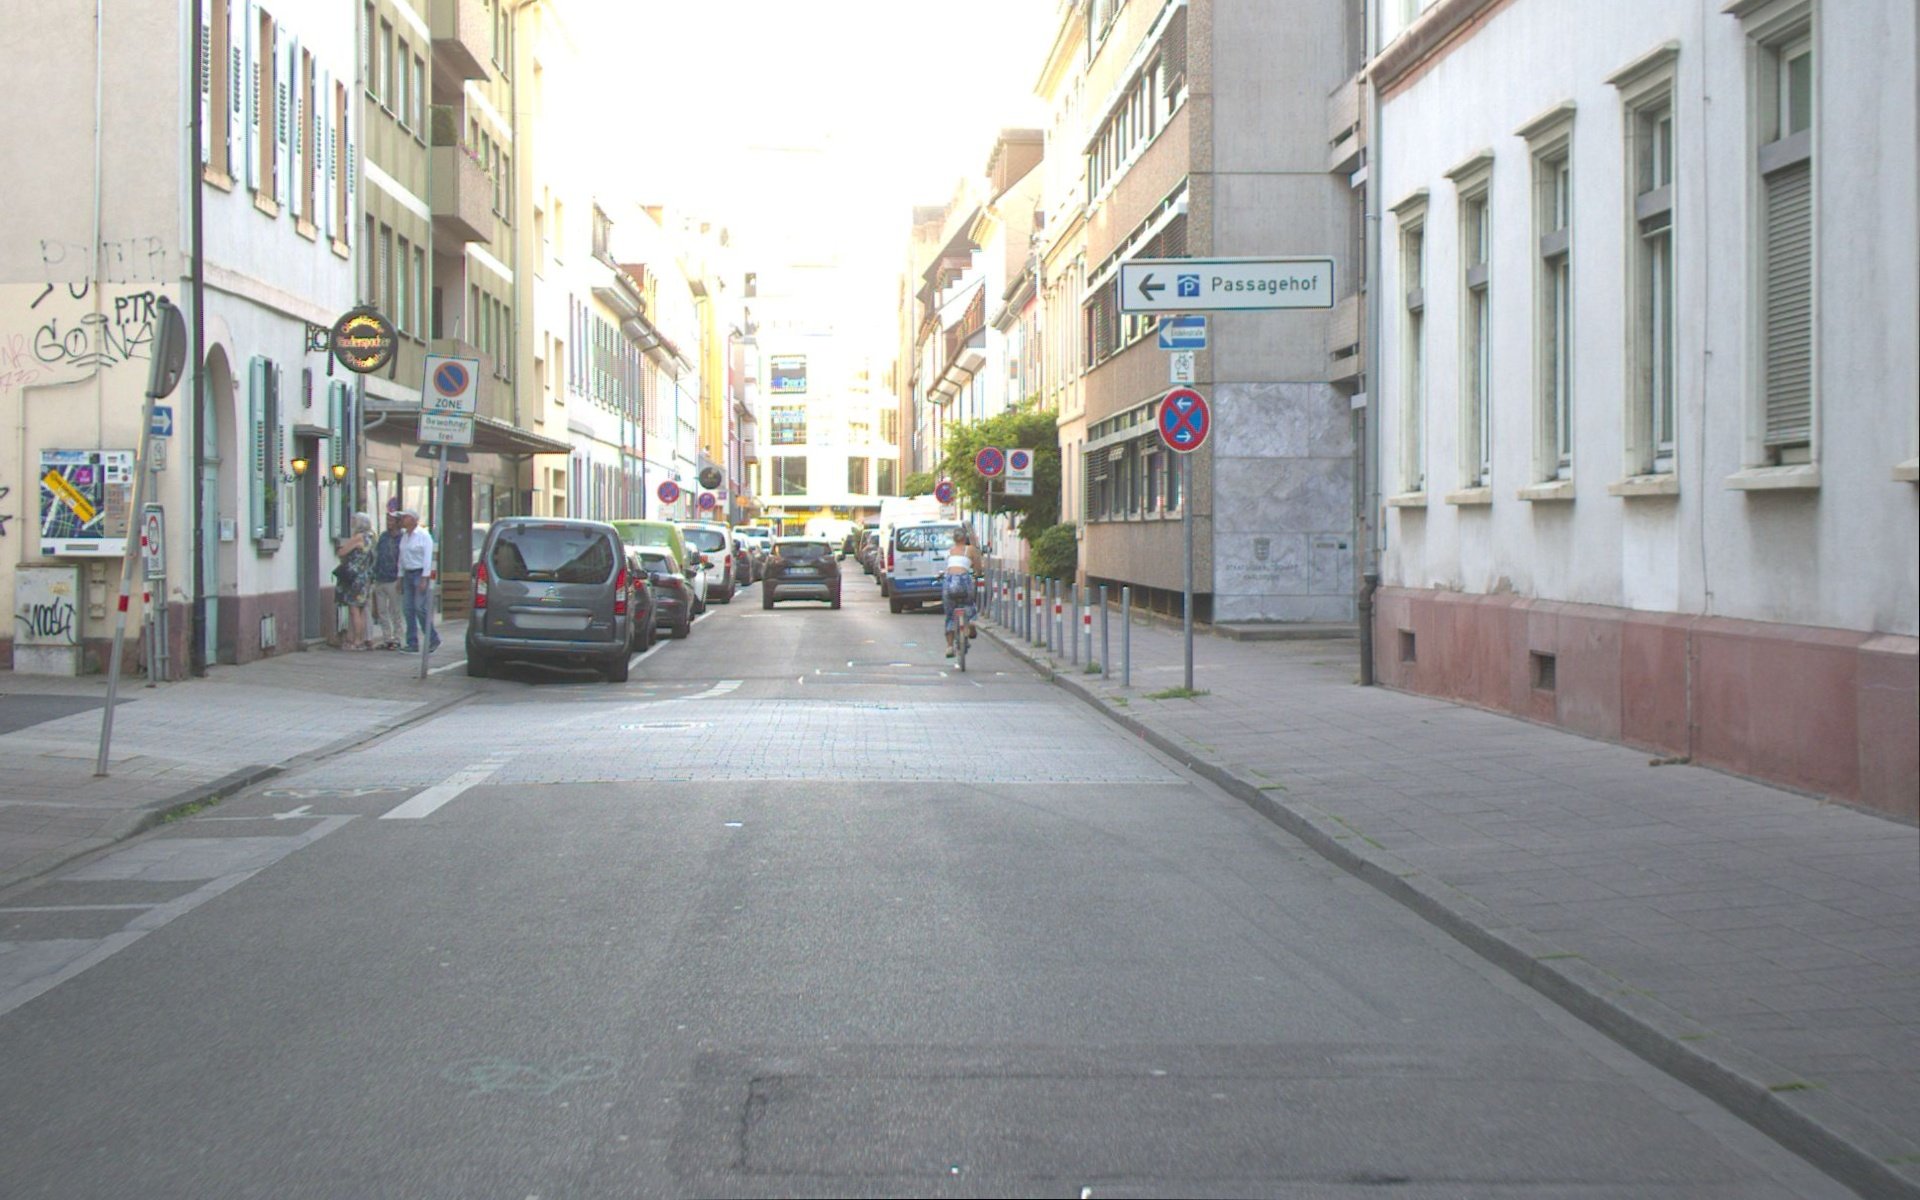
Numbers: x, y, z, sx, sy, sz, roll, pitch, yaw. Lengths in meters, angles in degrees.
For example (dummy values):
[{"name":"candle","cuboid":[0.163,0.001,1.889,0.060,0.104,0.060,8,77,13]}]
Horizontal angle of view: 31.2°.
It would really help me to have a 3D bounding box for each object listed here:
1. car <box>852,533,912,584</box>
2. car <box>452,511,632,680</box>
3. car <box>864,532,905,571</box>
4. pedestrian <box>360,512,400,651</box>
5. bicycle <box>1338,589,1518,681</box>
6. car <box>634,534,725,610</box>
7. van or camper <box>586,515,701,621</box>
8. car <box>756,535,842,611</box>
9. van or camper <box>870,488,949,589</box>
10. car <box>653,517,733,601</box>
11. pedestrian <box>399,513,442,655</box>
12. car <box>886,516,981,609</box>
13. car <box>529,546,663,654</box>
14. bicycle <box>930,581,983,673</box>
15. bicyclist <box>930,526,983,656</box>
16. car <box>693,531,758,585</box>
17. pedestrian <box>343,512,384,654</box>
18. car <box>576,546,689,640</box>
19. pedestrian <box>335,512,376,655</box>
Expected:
[{"name":"car","cuboid":[-2.544,-1.360,112.959,1.819,1.525,5.071,-3,1,-1]},{"name":"car","cuboid":[-4.729,-0.090,39.424,1.876,1.805,4.451,1,1,-5]},{"name":"car","cuboid":[-3.162,-2.019,143.255,1.653,1.555,3.606,1,1,-2]},{"name":"pedestrian","cuboid":[-7.286,-0.233,43.211,0.406,1.744,0.470,1,1,0]},{"name":"bicycle","cuboid":[4.817,0.356,35.397,1.739,0.920,0.538,0,1,-9]},{"name":"car","cuboid":[-5.819,-0.599,71.536,1.662,1.444,3.521,3,1,-2]},{"name":"van or camper","cuboid":[-5.705,-0.601,62.340,1.772,1.842,4.179,0,1,-1]},{"name":"car","cuboid":[-3.557,-0.614,76.021,1.819,1.612,4.001,1,1,-2]},{"name":"van or camper","cuboid":[-1.389,-1.682,93.349,2.050,2.628,7.063,0,1,-1]},{"name":"car","cuboid":[-6.542,-1.022,84.600,1.862,2.007,5.107,0,1,-3]},{"name":"pedestrian","cuboid":[-6.688,-0.205,42.608,0.449,1.744,0.470,1,1,0]},{"name":"car","cuboid":[-0.601,-0.821,73.444,1.936,1.891,5.277,0,1,-2]},{"name":"car","cuboid":[-5.183,-0.025,49.333,1.624,1.479,3.878,0,1,-2]},{"name":"bicycle","cuboid":[-0.052,0.320,42.253,0.613,1.078,1.809,1,1,-1]},{"name":"bicyclist","cuboid":[-0.042,-0.113,42.186,0.621,1.569,0.683,1,1,-1]},{"name":"car","cuboid":[-7.378,-1.346,108.675,1.802,1.671,4.490,0,1,-1]},{"name":"pedestrian","cuboid":[-7.393,-0.212,42.616,0.406,1.744,0.470,1,1,0]},{"name":"car","cuboid":[-5.132,-0.134,54.239,1.624,1.411,3.981,1,1,-4]},{"name":"pedestrian","cuboid":[-7.395,-0.204,42.054,0.406,1.744,0.470,1,1,0]}]
